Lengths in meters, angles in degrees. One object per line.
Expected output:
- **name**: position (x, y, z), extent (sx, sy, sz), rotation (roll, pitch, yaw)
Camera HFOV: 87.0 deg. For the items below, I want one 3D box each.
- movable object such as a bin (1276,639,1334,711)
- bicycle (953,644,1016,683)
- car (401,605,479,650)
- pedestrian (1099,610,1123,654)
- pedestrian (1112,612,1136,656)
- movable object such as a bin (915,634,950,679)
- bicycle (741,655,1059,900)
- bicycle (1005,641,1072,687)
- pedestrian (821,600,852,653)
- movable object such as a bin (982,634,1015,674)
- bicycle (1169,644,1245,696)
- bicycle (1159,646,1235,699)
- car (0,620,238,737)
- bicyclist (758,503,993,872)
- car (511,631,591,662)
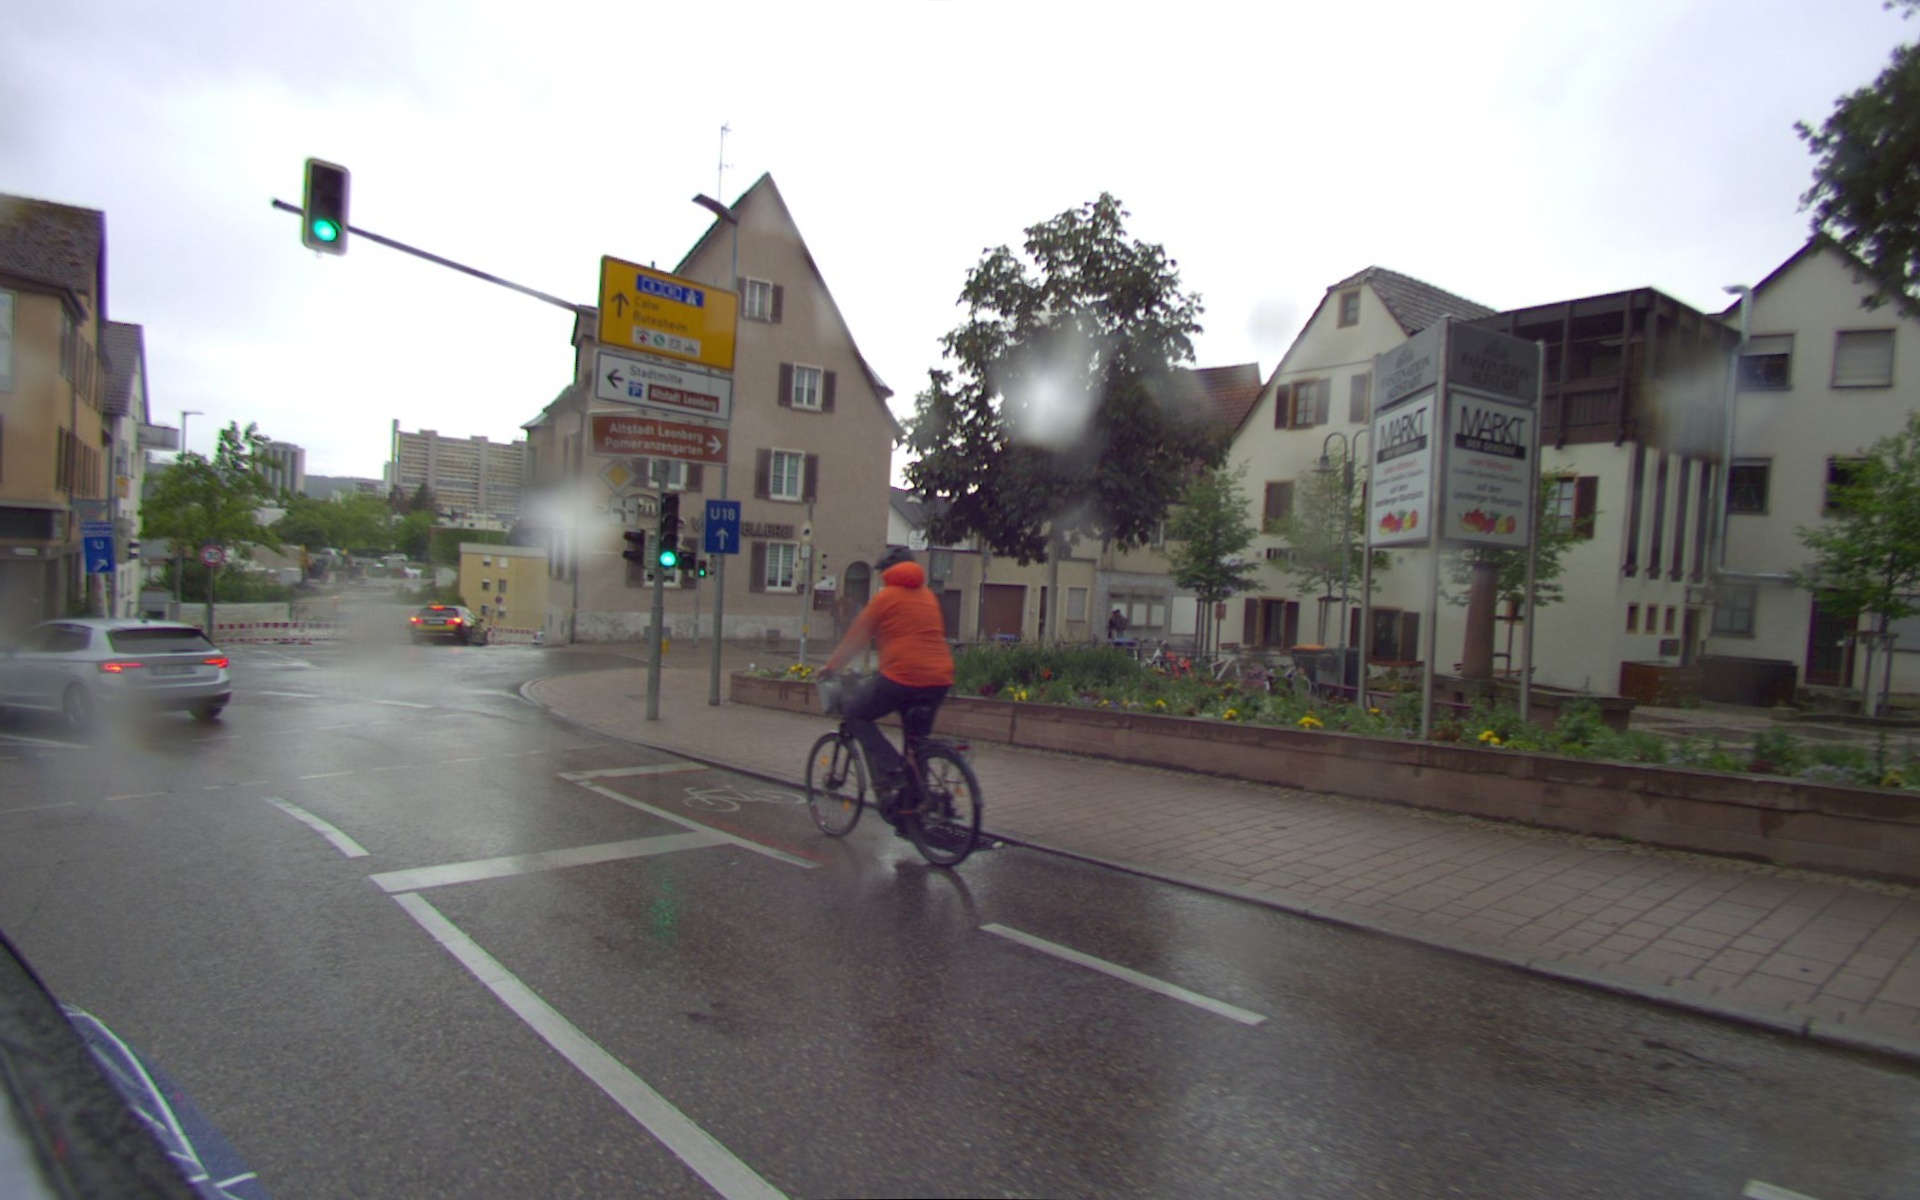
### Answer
- **movable object such as a bin**: position (6.649, 1.428, 19.545), extent (0.735, 1.285, 0.687), rotation (0, 4, -27)
- **bicycle**: position (0.566, 1.458, 23.337), extent (1.424, 0.824, 0.336), rotation (1, 4, 16)
- **car**: position (-19.018, 0.967, 37.214), extent (1.965, 1.550, 4.427), rotation (0, -1, -19)
- **pedestrian**: position (6.192, 1.316, 41.526), extent (0.620, 1.745, 0.784), rotation (-1, 1, -32)
- **pedestrian**: position (6.611, 1.359, 40.836), extent (0.620, 1.745, 0.784), rotation (-1, 1, -32)
- **movable object such as a bin**: position (-0.670, 1.401, 25.080), extent (0.777, 0.933, 0.726), rotation (3, -13, 1)
- **bicycle**: position (-0.454, 0.991, 6.367), extent (0.739, 1.172, 2.158), rotation (2, -1, -45)
- **bicycle**: position (1.733, 1.404, 22.415), extent (1.461, 0.919, 0.389), rotation (1, 4, 25)
- **pedestrian**: position (-4.373, 0.935, 35.826), extent (0.798, 1.844, 0.705), rotation (-1, 0, 39)
- **movable object such as a bin**: position (0.951, 1.336, 25.101), extent (0.588, 0.908, 0.577), rotation (3, 3, 38)
- **bicycle**: position (5.028, 1.418, 20.652), extent (1.468, 0.919, 0.388), rotation (3, 4, 37)
- **bicycle**: position (4.751, 1.438, 20.339), extent (1.468, 0.919, 0.388), rotation (3, 4, 37)
- **car**: position (-12.161, 1.012, 14.212), extent (3.849, 1.438, 1.653), rotation (0, -1, 26)
- **bicyclist**: position (-0.513, 0.502, 6.301), extent (1.123, 2.029, 0.880), rotation (3, -3, -44)
- **car**: position (-20.470, 2.292, 50.800), extent (1.977, 1.442, 3.989), rotation (0, -1, 9)
